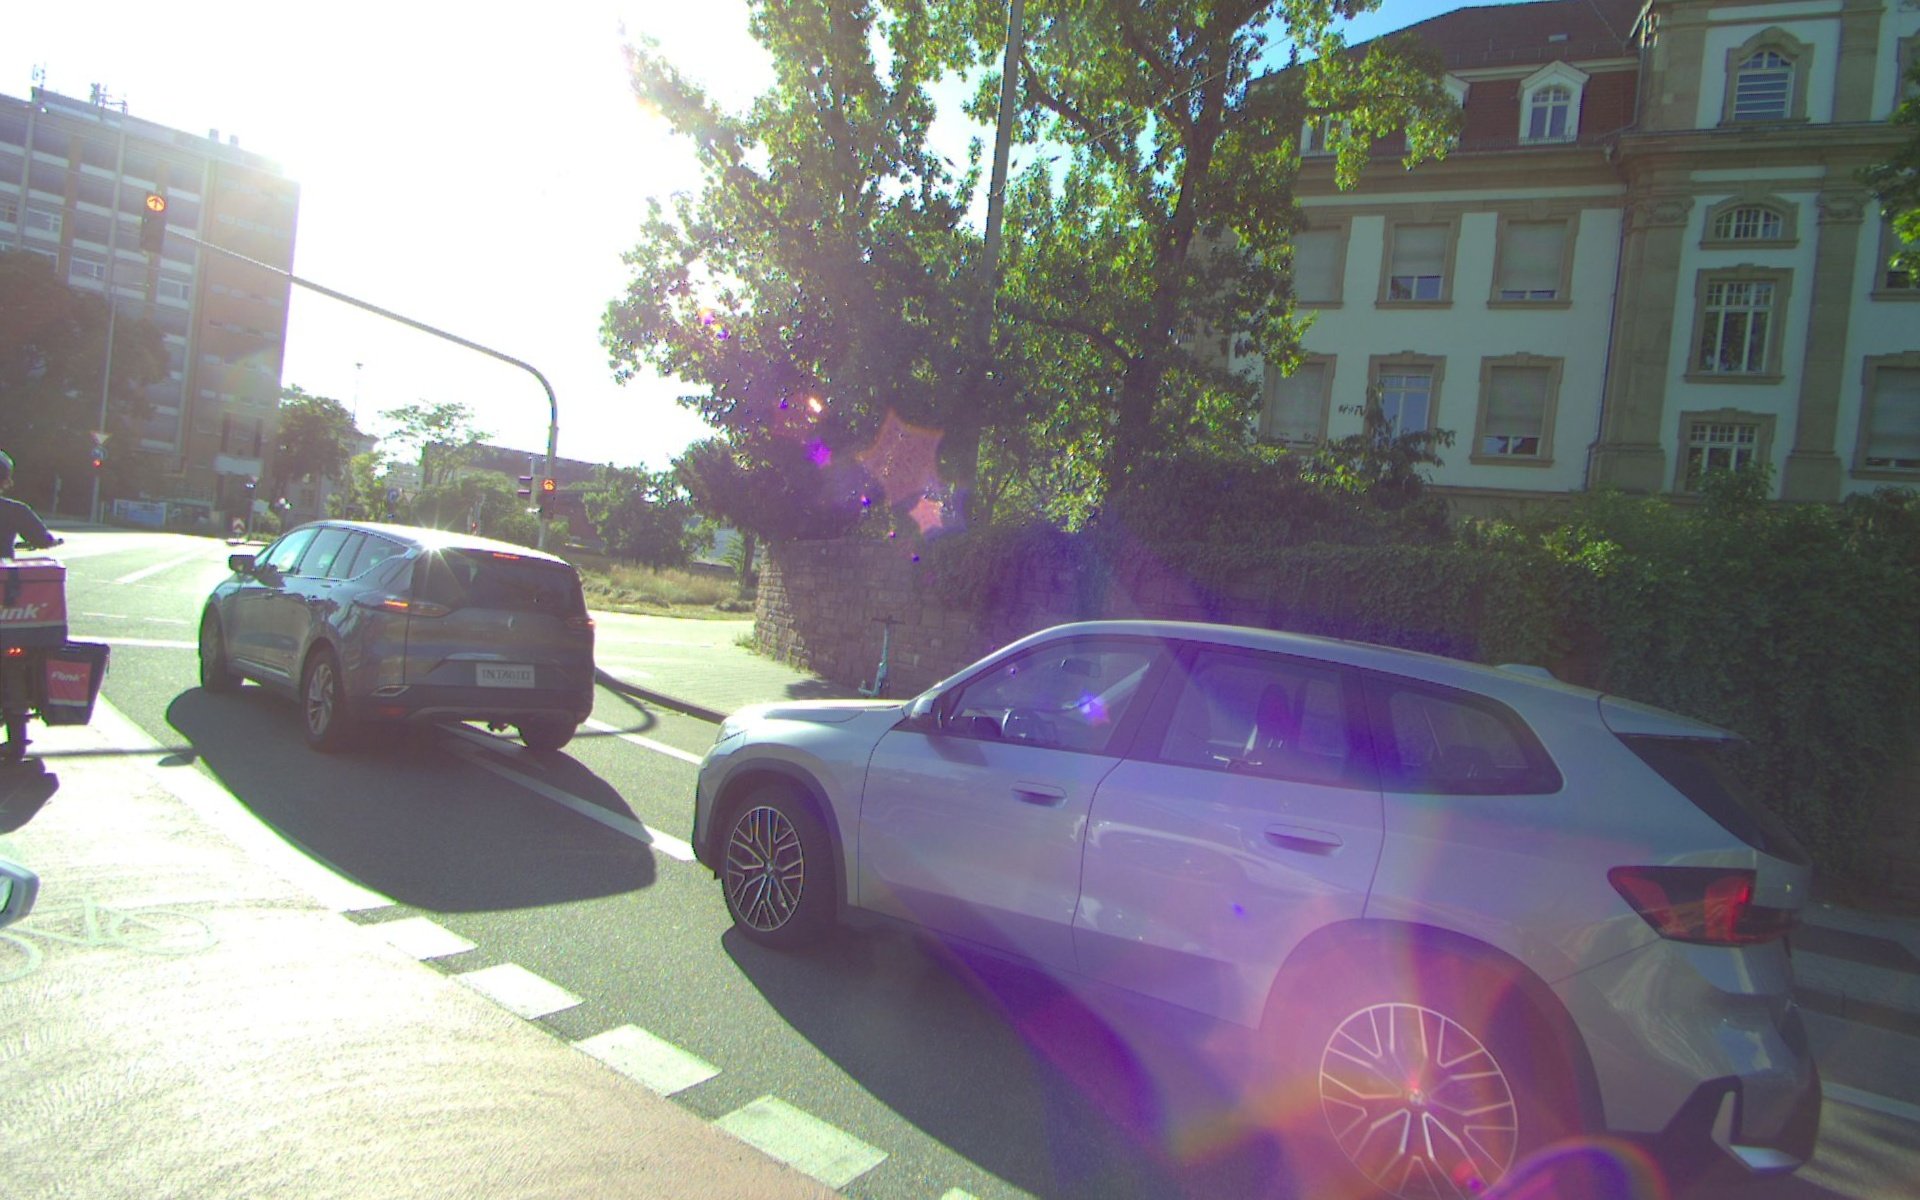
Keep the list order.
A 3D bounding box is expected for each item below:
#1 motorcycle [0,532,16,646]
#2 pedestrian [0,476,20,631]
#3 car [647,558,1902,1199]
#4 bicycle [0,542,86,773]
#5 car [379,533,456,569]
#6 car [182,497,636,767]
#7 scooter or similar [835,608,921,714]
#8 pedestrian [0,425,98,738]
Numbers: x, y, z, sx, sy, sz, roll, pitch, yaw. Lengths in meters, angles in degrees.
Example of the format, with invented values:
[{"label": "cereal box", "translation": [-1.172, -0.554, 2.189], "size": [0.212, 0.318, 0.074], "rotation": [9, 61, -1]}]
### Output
[{"label": "motorcycle", "translation": [-8.936, -0.081, 8.921], "size": [0.611, 1.110, 2.334], "rotation": [8, -2, -41]}, {"label": "pedestrian", "translation": [-8.711, -0.300, 8.748], "size": [0.585, 1.617, 1.013], "rotation": [8, -1, -41]}, {"label": "car", "translation": [0.825, 0.883, 4.243], "size": [4.263, 1.612, 1.788], "rotation": [6, -2, 37]}, {"label": "bicycle", "translation": [-5.991, 0.257, 6.178], "size": [2.340, 1.185, 0.553], "rotation": [6, -2, 42]}, {"label": "car", "translation": [-38.943, -3.519, 72.381], "size": [4.649, 1.969, 1.902], "rotation": [7, 0, -27]}, {"label": "car", "translation": [-4.838, 0.164, 8.555], "size": [4.307, 1.709, 1.830], "rotation": [6, -2, 40]}, {"label": "scooter or similar", "translation": [-1.156, 0.820, 13.882], "size": [0.569, 1.285, 1.414], "rotation": [6, 0, -27]}, {"label": "pedestrian", "translation": [-6.217, -0.145, 6.393], "size": [0.943, 1.890, 0.806], "rotation": [6, -1, 40]}]
